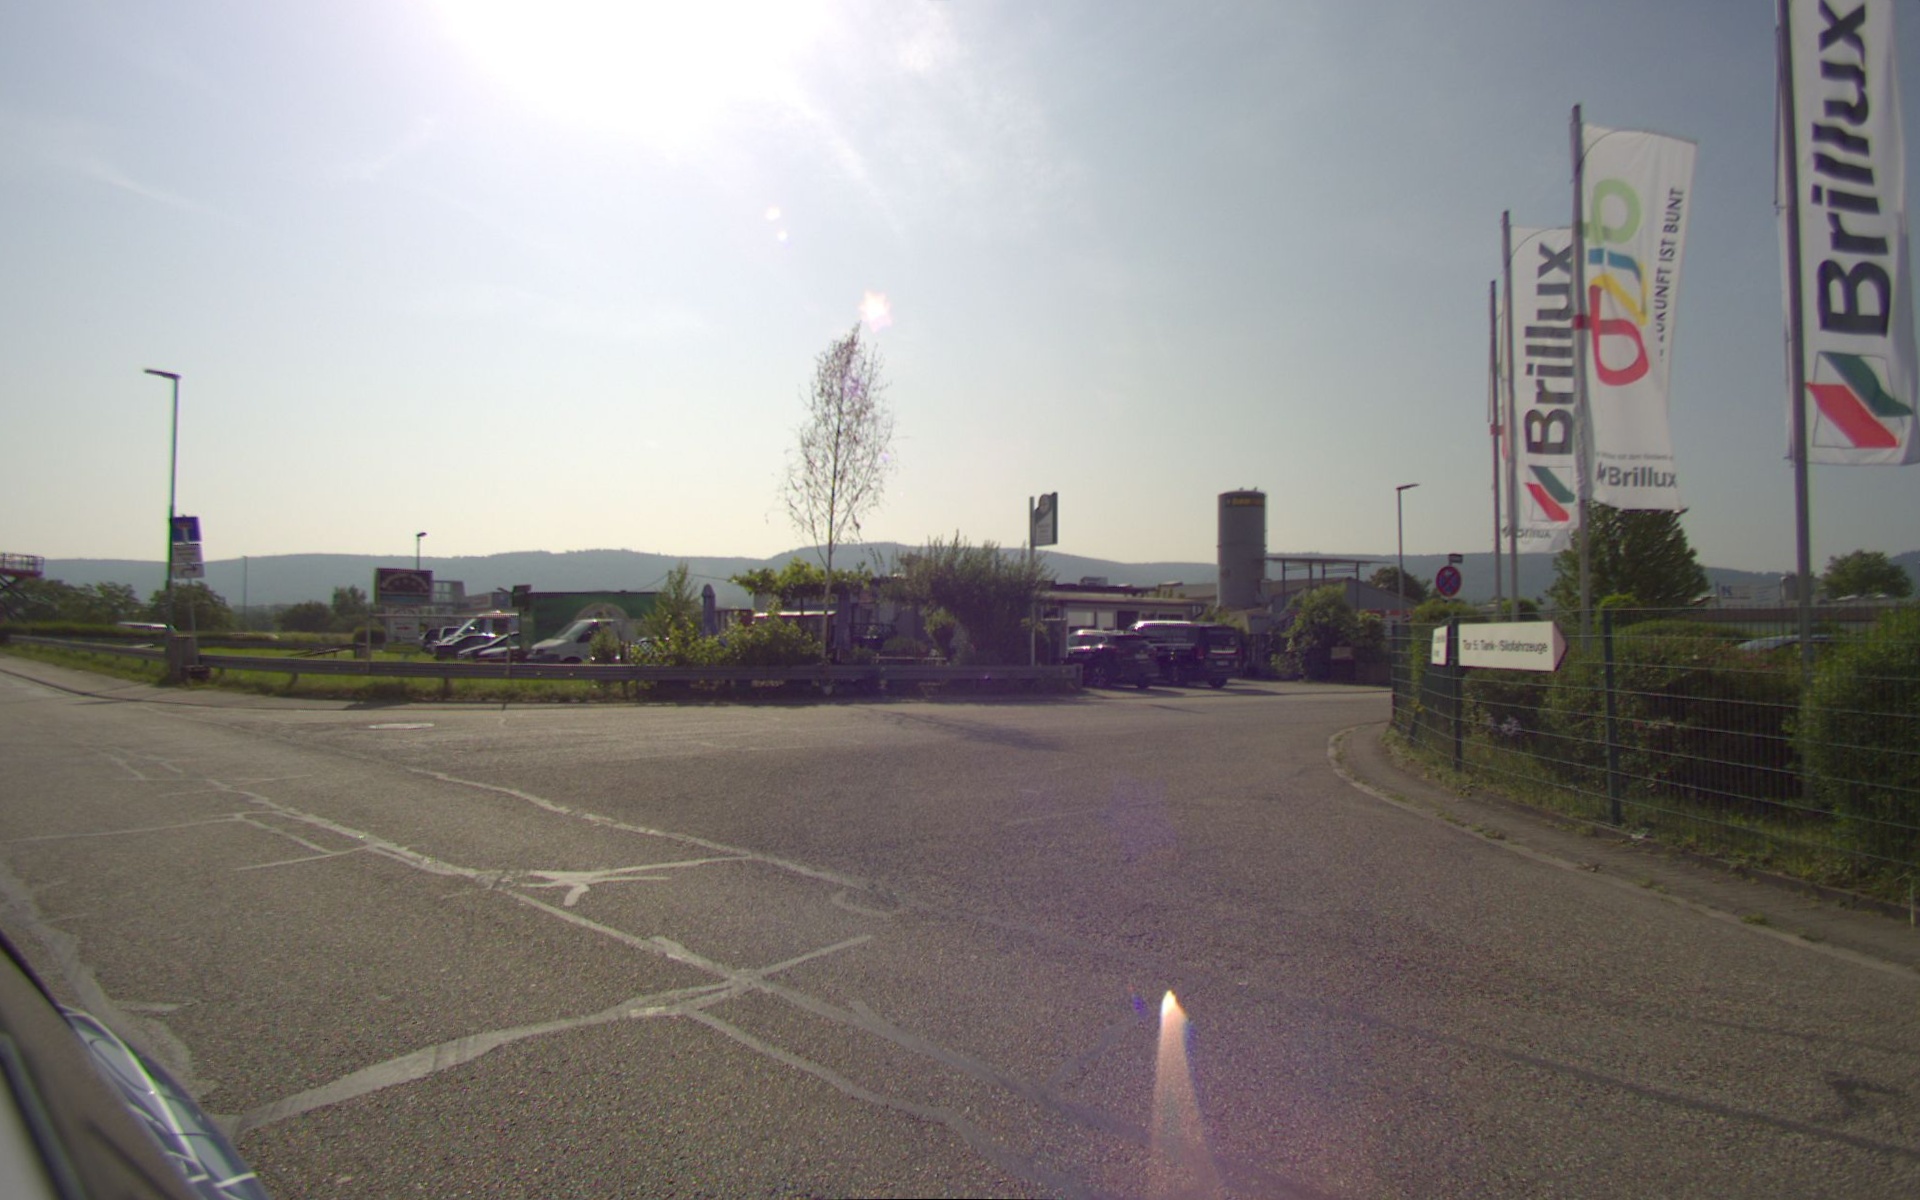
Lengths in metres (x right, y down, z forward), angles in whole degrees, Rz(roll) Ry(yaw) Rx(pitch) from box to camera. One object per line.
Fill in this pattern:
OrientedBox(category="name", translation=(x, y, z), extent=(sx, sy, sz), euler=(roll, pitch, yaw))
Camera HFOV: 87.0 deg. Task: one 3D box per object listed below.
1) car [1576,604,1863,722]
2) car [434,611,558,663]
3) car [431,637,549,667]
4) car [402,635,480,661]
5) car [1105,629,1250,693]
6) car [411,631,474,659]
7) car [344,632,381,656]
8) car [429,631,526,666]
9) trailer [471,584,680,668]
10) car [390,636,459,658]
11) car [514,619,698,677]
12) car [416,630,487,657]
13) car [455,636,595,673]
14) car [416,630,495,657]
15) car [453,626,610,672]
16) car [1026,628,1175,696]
OrientedBox(category="car", translation=(12.961, 1.041, 17.257), extent=(4.584, 1.765, 2.158), euler=(2, -2, -28))
OrientedBox(category="car", translation=(-23.079, 1.894, 50.392), extent=(5.314, 2.391, 2.300), euler=(3, -5, -30))
OrientedBox(category="car", translation=(-20.986, 2.345, 45.236), extent=(4.616, 1.228, 1.836), euler=(3, -5, -30))
OrientedBox(category="car", translation=(-29.776, 2.757, 58.105), extent=(3.696, 1.399, 1.733), euler=(3, -4, -35))
OrientedBox(category="car", translation=(6.503, 1.796, 30.616), extent=(1.967, 1.785, 4.009), euler=(2, -3, -37))
OrientedBox(category="car", translation=(-36.528, 3.145, 71.455), extent=(3.712, 1.809, 1.937), euler=(0, 0, -37))
OrientedBox(category="car", translation=(-51.879, 3.810, 87.895), extent=(1.969, 2.029, 4.163), euler=(4, -4, -41))
OrientedBox(category="car", translation=(-24.911, 2.522, 52.322), extent=(4.328, 1.676, 1.812), euler=(3, -5, -30))
OrientedBox(category="trailer", translation=(-13.367, 0.996, 35.366), extent=(6.223, 2.625, 2.861), euler=(3, -4, -35))
OrientedBox(category="car", translation=(-38.751, 3.402, 73.247), extent=(4.089, 1.547, 1.887), euler=(3, -4, -37))
OrientedBox(category="car", translation=(-11.270, 1.565, 32.501), extent=(5.199, 1.719, 2.002), euler=(4, -4, -43))
OrientedBox(category="car", translation=(-31.561, 2.705, 62.838), extent=(3.628, 1.533, 1.688), euler=(3, -4, -38))
OrientedBox(category="car", translation=(-17.256, 2.196, 40.223), extent=(4.882, 1.328, 1.784), euler=(3, -5, -30))
OrientedBox(category="car", translation=(-30.292, 2.643, 60.809), extent=(3.935, 1.533, 1.688), euler=(4, -4, -38))
OrientedBox(category="car", translation=(-15.801, 1.845, 37.376), extent=(5.055, 1.546, 2.184), euler=(3, -5, -30))
OrientedBox(category="car", translation=(3.951, 1.711, 28.941), extent=(1.967, 1.785, 4.009), euler=(2, -3, -37))
